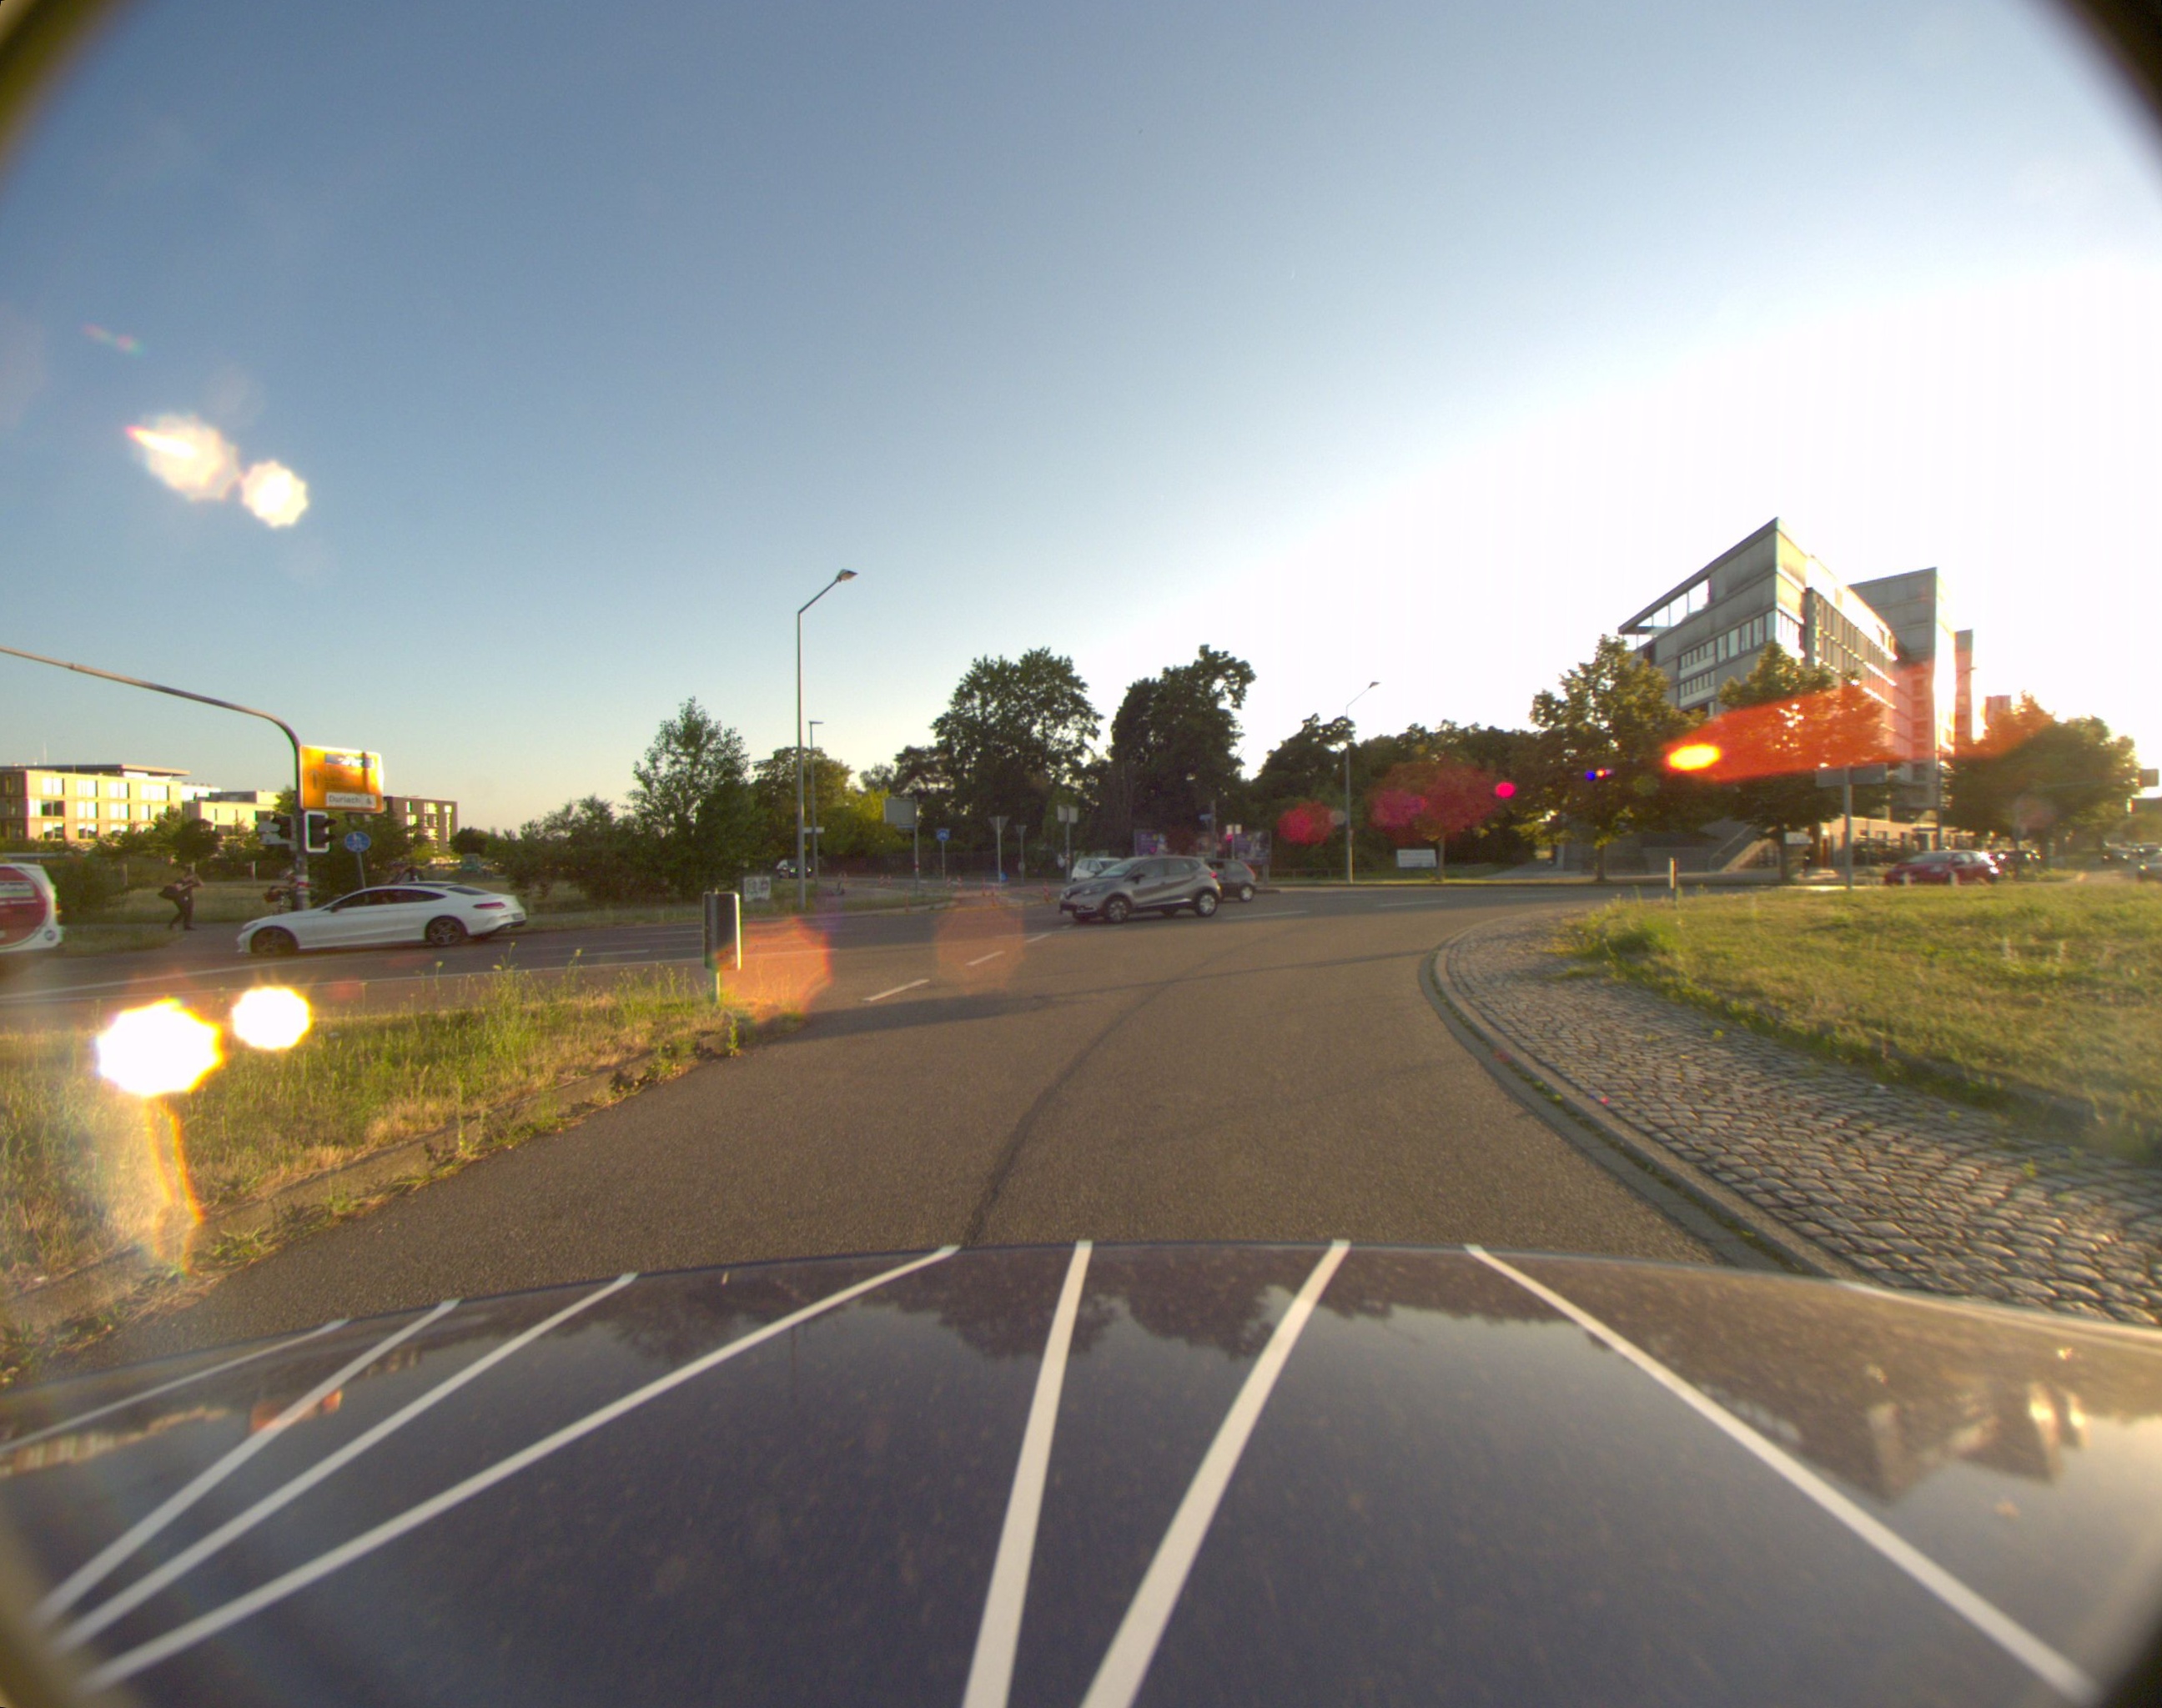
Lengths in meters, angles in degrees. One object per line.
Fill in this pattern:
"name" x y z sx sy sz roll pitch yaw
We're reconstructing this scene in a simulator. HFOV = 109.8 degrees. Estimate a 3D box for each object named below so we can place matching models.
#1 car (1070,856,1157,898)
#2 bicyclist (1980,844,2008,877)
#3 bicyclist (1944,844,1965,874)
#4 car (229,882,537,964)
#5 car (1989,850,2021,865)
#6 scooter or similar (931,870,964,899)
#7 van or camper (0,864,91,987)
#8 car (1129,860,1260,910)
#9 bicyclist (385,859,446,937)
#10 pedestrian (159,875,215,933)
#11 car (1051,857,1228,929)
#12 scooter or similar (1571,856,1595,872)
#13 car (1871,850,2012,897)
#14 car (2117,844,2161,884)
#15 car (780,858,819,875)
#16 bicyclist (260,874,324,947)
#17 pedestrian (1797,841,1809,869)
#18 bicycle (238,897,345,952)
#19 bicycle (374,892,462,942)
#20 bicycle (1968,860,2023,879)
"car" 1.239 0.884 31.096 1.893 1.549 4.087 -1 0 -25
"bicyclist" 49.218 0.351 40.961 0.805 1.745 0.847 -1 0 -30
"bicyclist" 47.417 0.264 41.262 0.682 1.638 0.685 0 0 44
"car" -14.840 1.412 16.487 4.563 1.422 1.743 -1 0 -18
"car" 89.017 0.328 73.192 4.008 1.455 1.798 0 0 -37
"scooter or similar" -5.539 1.243 31.627 0.441 1.156 1.386 0 0 39
"van or camper" -19.915 1.197 11.947 5.329 1.946 1.998 -1 0 -9
"car" 3.734 0.945 24.857 4.006 1.431 1.741 -1 0 -29
"bicyclist" -16.905 1.097 19.325 0.641 1.887 0.910 -1 2 1
"pedestrian" -25.032 1.389 21.276 0.567 1.541 0.797 -1 1 4
"car" 1.460 0.867 18.663 4.006 1.527 1.741 -1 0 -29
"scooter or similar" 38.831 0.753 58.772 0.367 1.213 1.573 -1 0 -27
"car" 32.195 0.700 28.457 4.001 1.612 1.775 -1 0 -12
"car" 48.836 0.425 34.553 4.007 1.692 1.773 -1 1 -32
"car" -24.770 1.078 66.706 1.875 1.477 3.989 -1 0 -41
"bicyclist" -19.142 1.354 18.453 0.641 1.693 0.770 -1 3 1
"pedestrian" 52.595 0.096 55.323 0.528 2.002 0.537 -1 0 -37
"bicycle" -19.067 1.667 18.410 0.456 1.079 1.928 -1 3 2
"bicycle" -16.871 1.576 19.402 0.456 1.079 1.928 -1 2 2
"bicycle" 49.610 0.830 41.216 0.438 1.016 1.859 -1 0 -29
